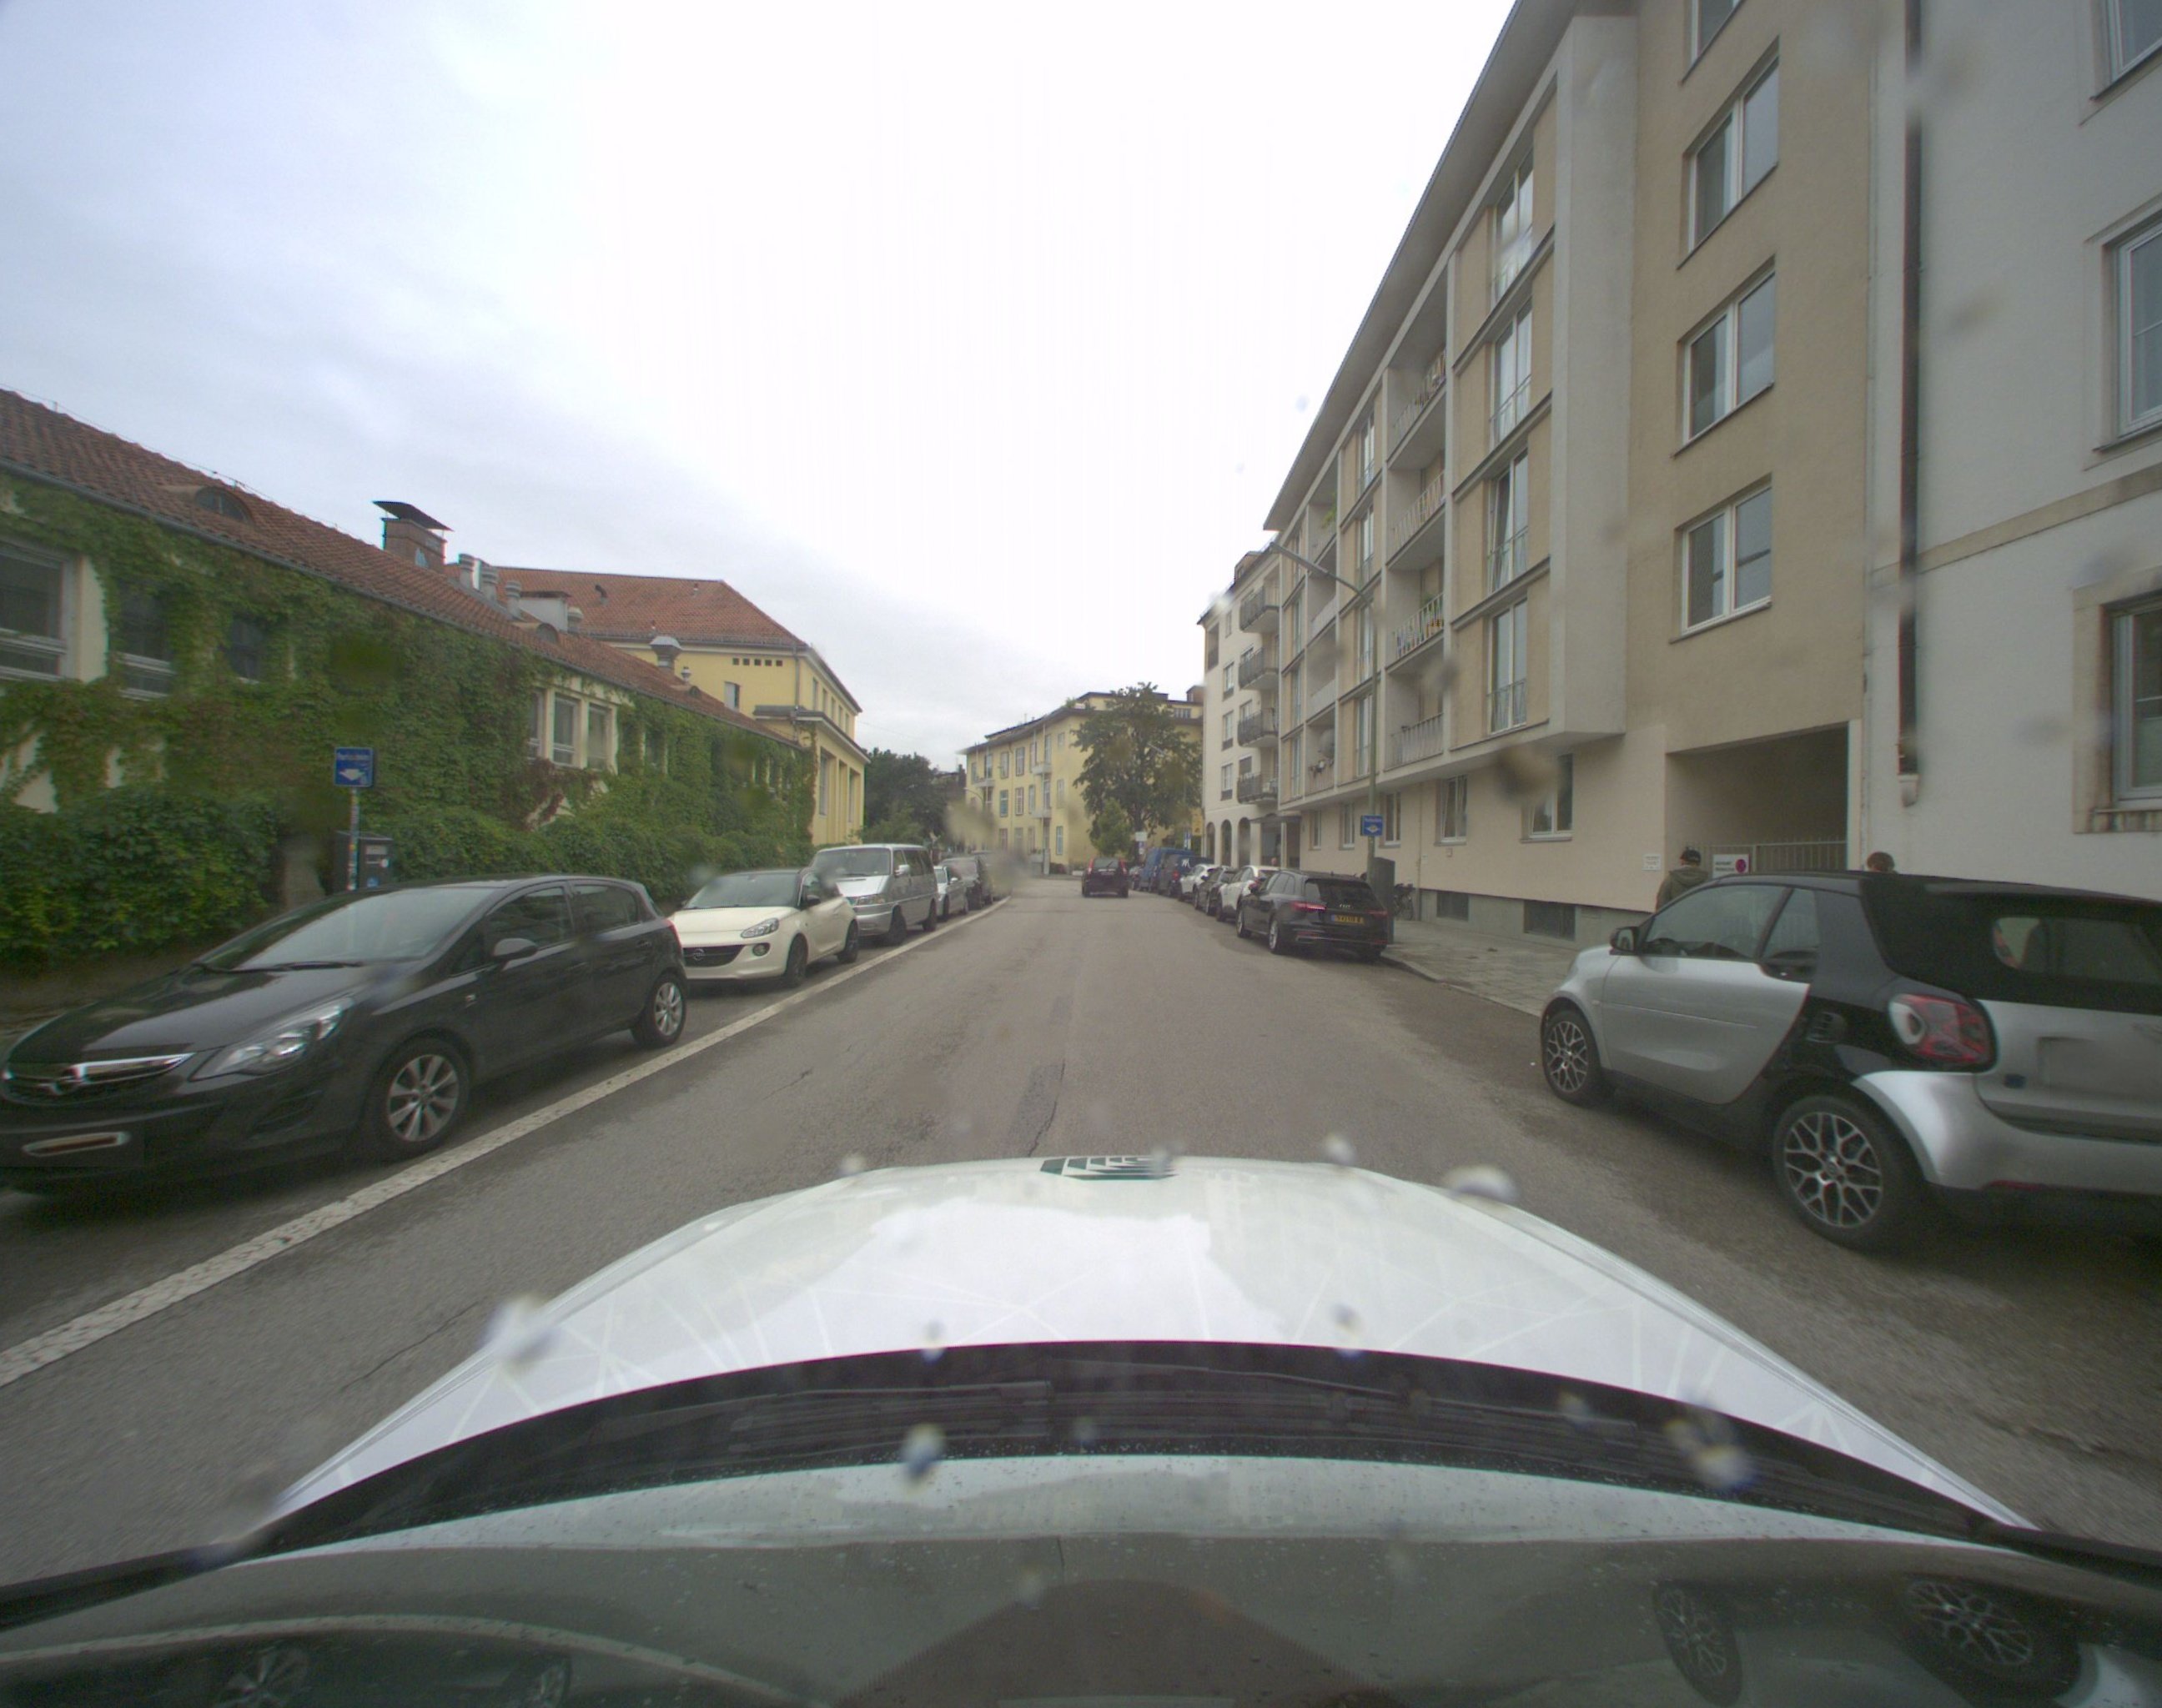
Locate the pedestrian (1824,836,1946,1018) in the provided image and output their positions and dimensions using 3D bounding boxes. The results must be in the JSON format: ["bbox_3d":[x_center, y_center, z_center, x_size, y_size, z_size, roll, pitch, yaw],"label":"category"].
[{"bbox_3d":[7.279,0.640,7.395,0.529,1.585,0.560,-1,0,1],"label":"pedestrian"}]

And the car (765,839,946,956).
[{"bbox_3d":[-4.167,0.736,15.981,1.986,1.875,4.761,-3,0,2],"label":"car"}]

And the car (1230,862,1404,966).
[{"bbox_3d":[4.087,0.961,14.922,1.790,1.420,4.482,6,0,0],"label":"car"}]

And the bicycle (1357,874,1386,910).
[{"bbox_3d":[8.680,1.117,24.355,0.388,1.024,1.401,-1,0,1],"label":"bicycle"}]

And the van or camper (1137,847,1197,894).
[{"bbox_3d":[4.349,0.810,42.080,2.057,2.231,5.429,-1,0,-4],"label":"van or camper"}]

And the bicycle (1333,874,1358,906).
[{"bbox_3d":[8.856,1.199,27.307,0.388,1.024,1.401,-1,0,1],"label":"bicycle"}]

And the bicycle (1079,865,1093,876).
[{"bbox_3d":[0.492,1.647,81.791,0.611,1.072,2.201,0,0,-22],"label":"bicycle"}]

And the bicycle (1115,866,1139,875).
[{"bbox_3d":[4.447,1.566,78.417,2.194,0.779,0.612,1,-1,14],"label":"bicycle"}]

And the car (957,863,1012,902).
[{"bbox_3d":[-3.762,1.069,32.244,1.614,1.378,4.071,-2,0,0],"label":"car"}]

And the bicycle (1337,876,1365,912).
[{"bbox_3d":[8.233,1.199,24.873,0.388,1.024,1.401,-1,0,1],"label":"bicycle"}]

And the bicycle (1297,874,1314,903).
[{"bbox_3d":[8.151,1.245,29.602,0.420,1.024,1.201,-1,0,8],"label":"bicycle"}]

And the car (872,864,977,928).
[{"bbox_3d":[-4.034,1.037,21.705,1.695,1.423,4.427,-3,0,2],"label":"car"}]

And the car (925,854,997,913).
[{"bbox_3d":[-3.853,0.891,26.822,1.614,1.730,4.424,-2,0,0],"label":"car"}]

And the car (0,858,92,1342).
[{"bbox_3d":[-4.343,0.830,0.735,1.776,1.538,4.148,-3,0,-1],"label":"car"}]

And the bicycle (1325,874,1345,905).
[{"bbox_3d":[8.882,1.235,28.523,0.372,1.024,1.002,-1,0,1],"label":"bicycle"}]

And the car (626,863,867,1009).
[{"bbox_3d":[-4.158,0.924,10.795,1.573,1.492,3.730,-2,0,0],"label":"car"}]

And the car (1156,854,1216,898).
[{"bbox_3d":[4.586,0.926,36.242,1.958,1.816,4.933,-1,0,-1],"label":"car"}]

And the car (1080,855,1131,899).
[{"bbox_3d":[1.086,0.909,34.347,1.987,1.694,4.383,-1,0,3],"label":"car"}]

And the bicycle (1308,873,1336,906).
[{"bbox_3d":[8.787,1.287,29.732,0.531,1.133,1.407,0,0,-3],"label":"bicycle"}]

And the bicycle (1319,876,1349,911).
[{"bbox_3d":[7.726,1.194,24.890,0.481,1.024,1.401,-1,0,1],"label":"bicycle"}]

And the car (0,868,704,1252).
[{"bbox_3d":[-4.209,0.900,5.323,1.573,1.455,3.904,-3,0,0],"label":"car"}]

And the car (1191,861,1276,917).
[{"bbox_3d":[4.544,0.988,24.866,1.733,1.499,4.494,-1,0,0],"label":"car"}]

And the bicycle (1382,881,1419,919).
[{"bbox_3d":[8.538,1.222,21.789,0.443,0.936,1.401,-1,0,1],"label":"bicycle"}]

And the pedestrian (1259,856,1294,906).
[{"bbox_3d":[6.723,0.919,28.099,0.895,1.687,1.319,0,-1,0],"label":"pedestrian"}]

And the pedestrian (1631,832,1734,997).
[{"bbox_3d":[6.301,0.613,8.559,0.594,1.654,0.631,-1,0,1],"label":"pedestrian"}]

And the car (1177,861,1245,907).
[{"bbox_3d":[4.777,1.064,30.429,1.734,1.537,4.270,-1,0,-2],"label":"car"}]

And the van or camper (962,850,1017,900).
[{"bbox_3d":[-4.053,0.896,36.866,1.955,2.065,4.751,-2,0,-1],"label":"van or camper"}]

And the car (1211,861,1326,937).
[{"bbox_3d":[4.419,0.998,19.837,1.733,1.499,4.218,4,0,0],"label":"car"}]

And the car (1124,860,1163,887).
[{"bbox_3d":[3.637,1.119,47.921,1.700,1.518,3.953,-1,0,-4],"label":"car"}]

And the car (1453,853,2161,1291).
[{"bbox_3d":[3.936,0.808,4.898,1.665,1.534,3.883,3,0,2],"label":"car"}]

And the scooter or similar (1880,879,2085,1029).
[{"bbox_3d":[8.205,0.881,7.469,0.598,1.252,1.036,-1,-4,-7],"label":"scooter or similar"}]
